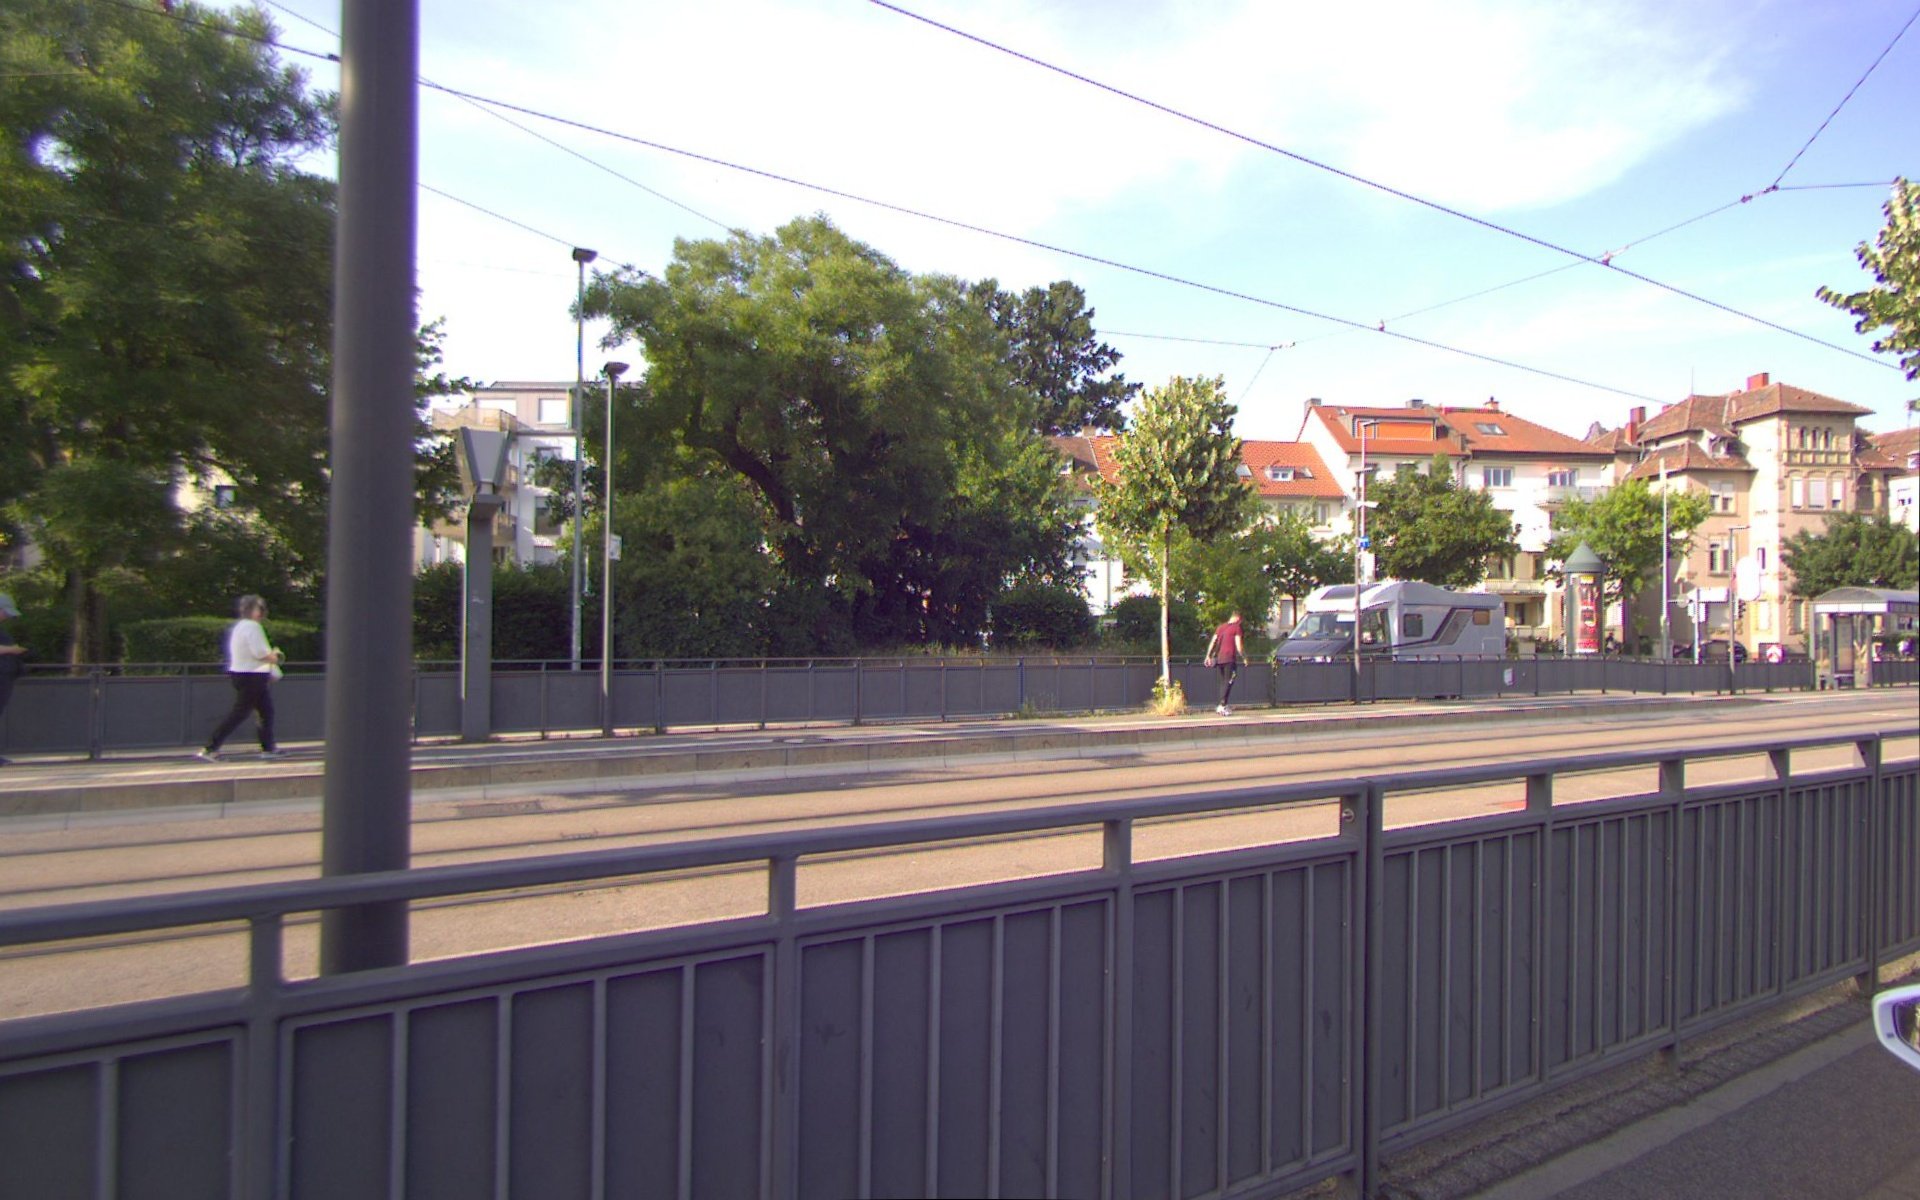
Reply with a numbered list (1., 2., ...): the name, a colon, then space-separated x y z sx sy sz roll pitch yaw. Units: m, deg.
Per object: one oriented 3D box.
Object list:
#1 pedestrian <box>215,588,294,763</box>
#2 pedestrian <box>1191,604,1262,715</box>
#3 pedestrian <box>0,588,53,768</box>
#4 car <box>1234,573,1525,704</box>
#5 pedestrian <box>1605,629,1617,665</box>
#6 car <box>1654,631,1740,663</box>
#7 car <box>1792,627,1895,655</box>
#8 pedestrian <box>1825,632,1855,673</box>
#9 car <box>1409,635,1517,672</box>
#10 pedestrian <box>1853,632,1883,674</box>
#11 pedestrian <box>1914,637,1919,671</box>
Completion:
1. pedestrian: -6.972 0.735 9.951 0.601 1.663 0.578 1 -3 -34
2. pedestrian: 4.343 0.954 16.413 0.763 1.756 0.832 1 -2 -29
3. pedestrian: -9.133 0.720 9.435 0.656 1.663 0.859 0 -1 44
4. car: 10.233 0.883 24.239 7.381 2.771 2.584 1 -1 -30
5. pedestrian: 37.046 2.662 57.180 0.400 2.040 0.383 1 -1 -11
6. car: 44.728 2.832 61.065 1.965 1.773 3.992 1 -1 -11
7. car: 54.142 2.503 61.595 4.628 1.649 2.209 1 -1 -6
8. pedestrian: 38.642 2.298 44.109 0.740 1.776 0.879 1 -1 -40
9. car: 21.112 2.228 42.363 1.966 1.416 3.988 1 -1 -15
10. pedestrian: 39.232 2.280 43.407 0.740 1.776 0.879 1 -1 -40
11. pedestrian: 50.892 2.848 52.971 0.736 1.776 0.663 1 -1 -26
